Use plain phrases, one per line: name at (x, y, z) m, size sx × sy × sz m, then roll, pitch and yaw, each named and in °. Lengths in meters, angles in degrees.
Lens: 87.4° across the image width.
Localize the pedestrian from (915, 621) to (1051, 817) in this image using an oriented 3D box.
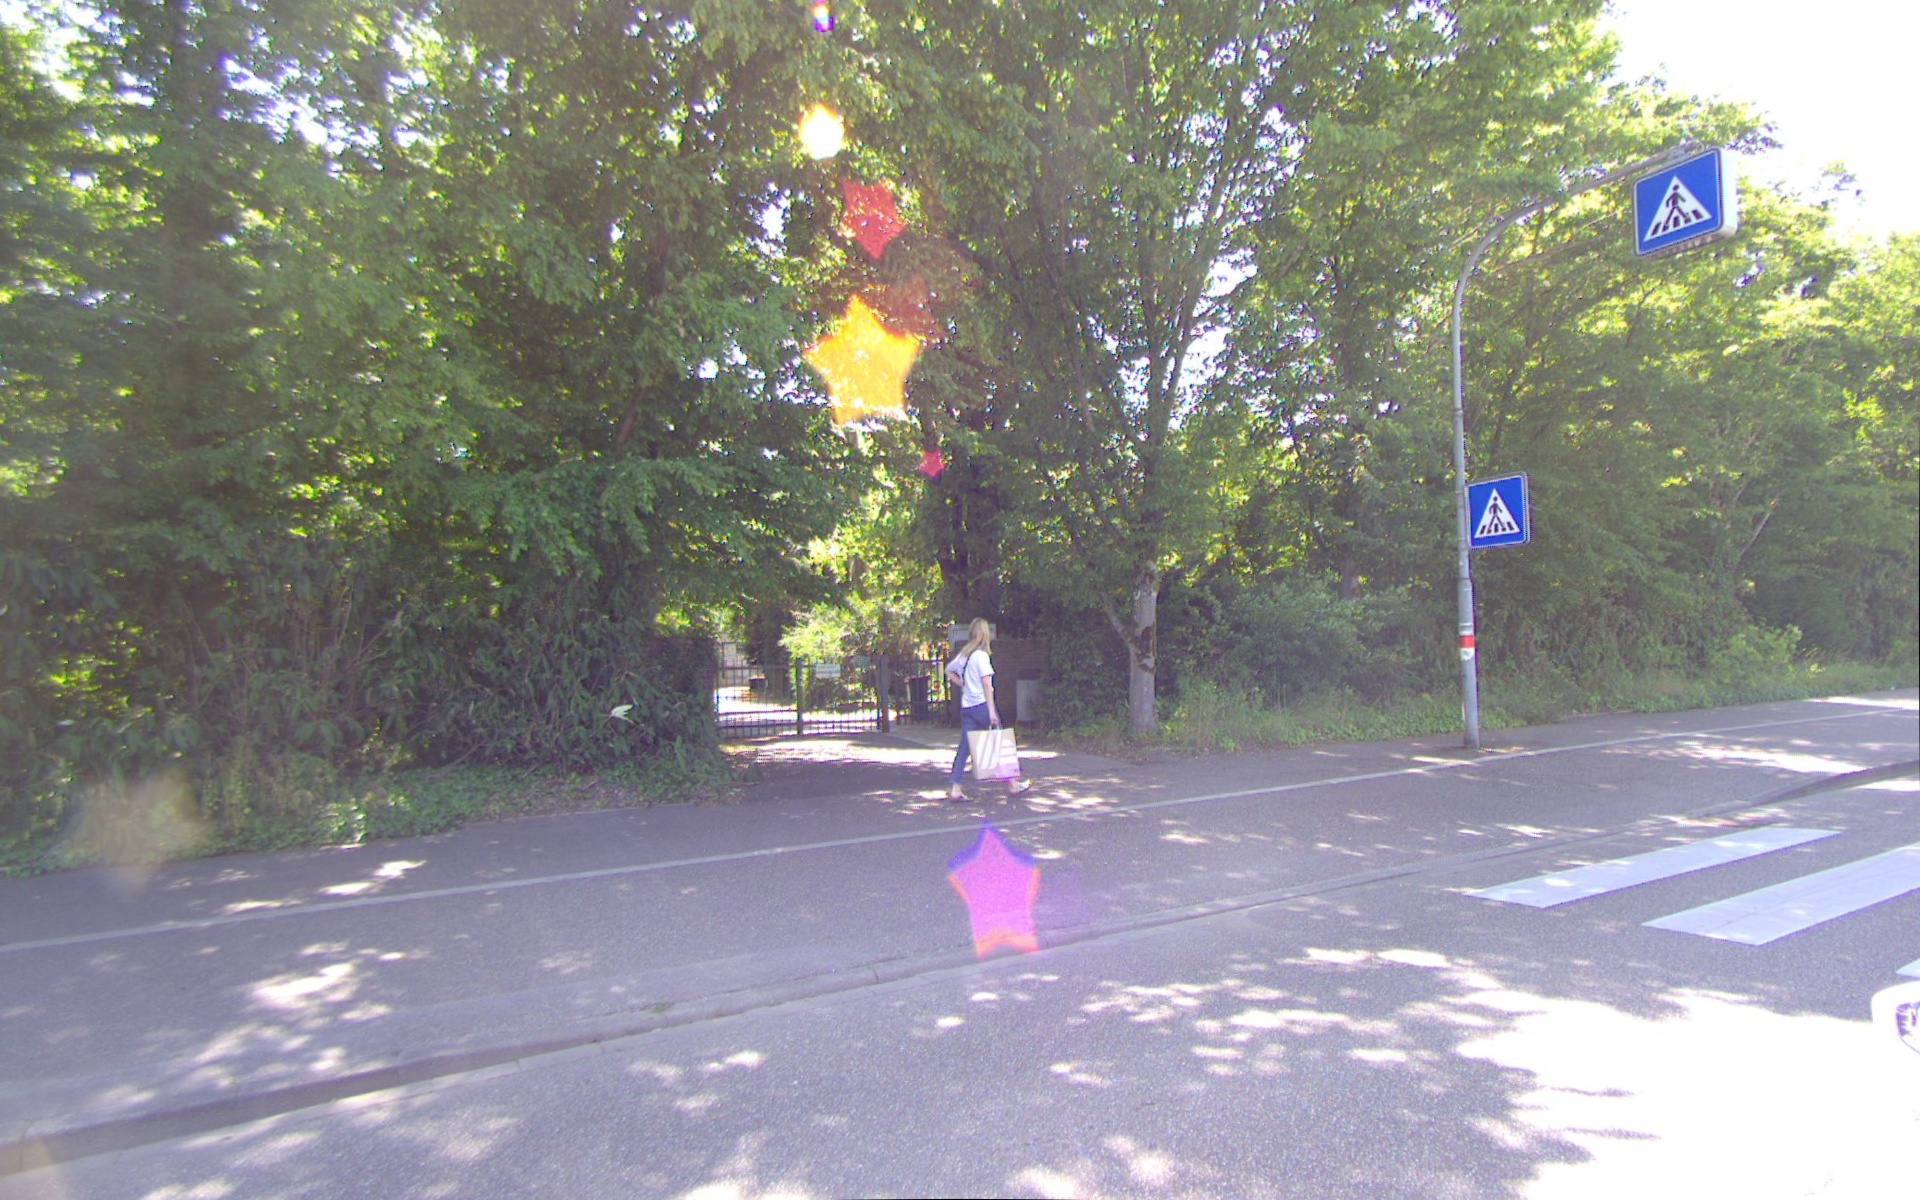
pedestrian at (0.193, 1.014, 9.061) m, size 0.875 × 1.634 × 0.927 m, roll 0°, pitch 0°, yaw -30°
